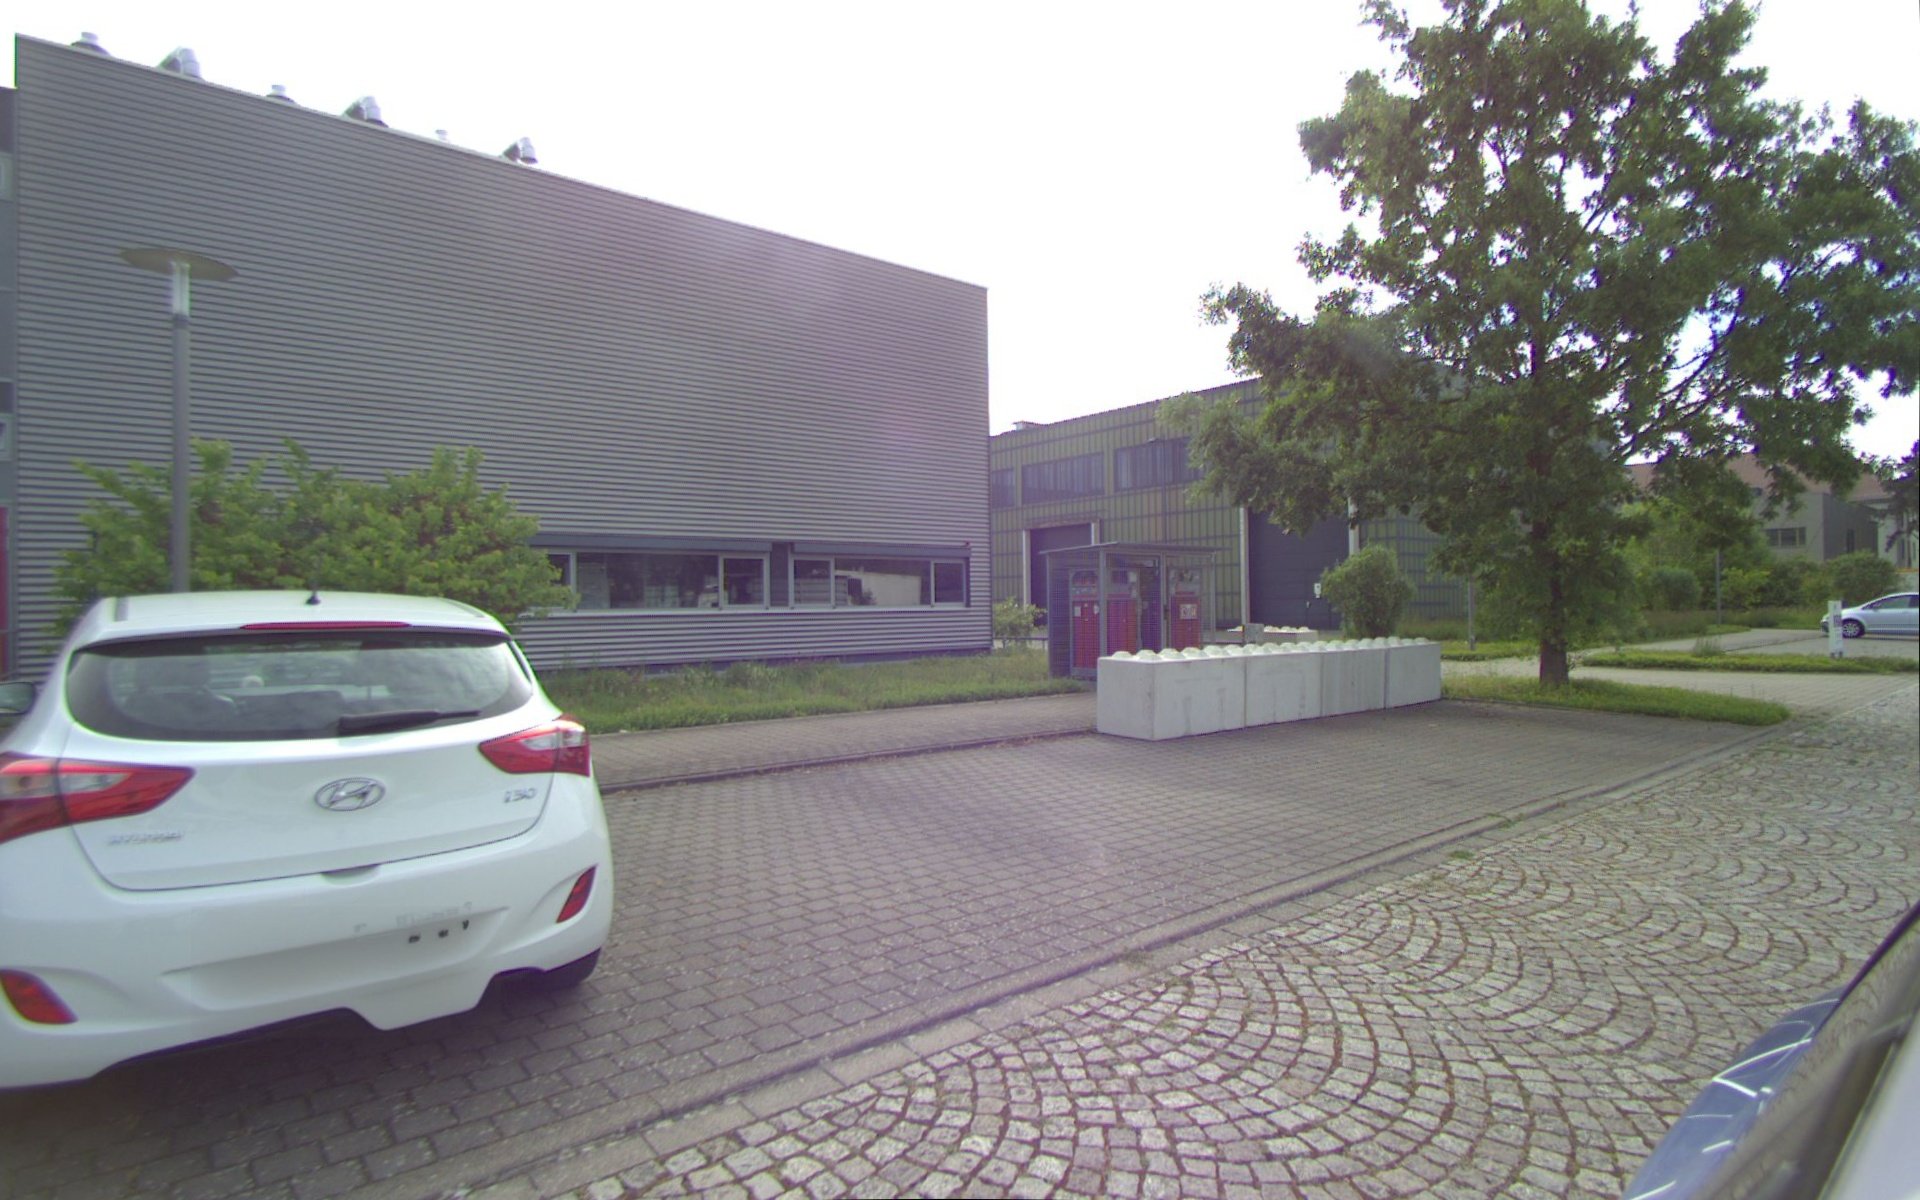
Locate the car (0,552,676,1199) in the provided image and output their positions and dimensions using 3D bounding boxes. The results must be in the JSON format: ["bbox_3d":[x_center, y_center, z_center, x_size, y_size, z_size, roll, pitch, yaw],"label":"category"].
[{"bbox_3d":[-2.915,0.638,4.304,1.849,1.485,3.983,0,0,-39],"label":"car"}]

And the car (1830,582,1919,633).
[{"bbox_3d":[31.746,0.235,33.607,1.906,1.645,4.127,-1,1,-42],"label":"car"}]
